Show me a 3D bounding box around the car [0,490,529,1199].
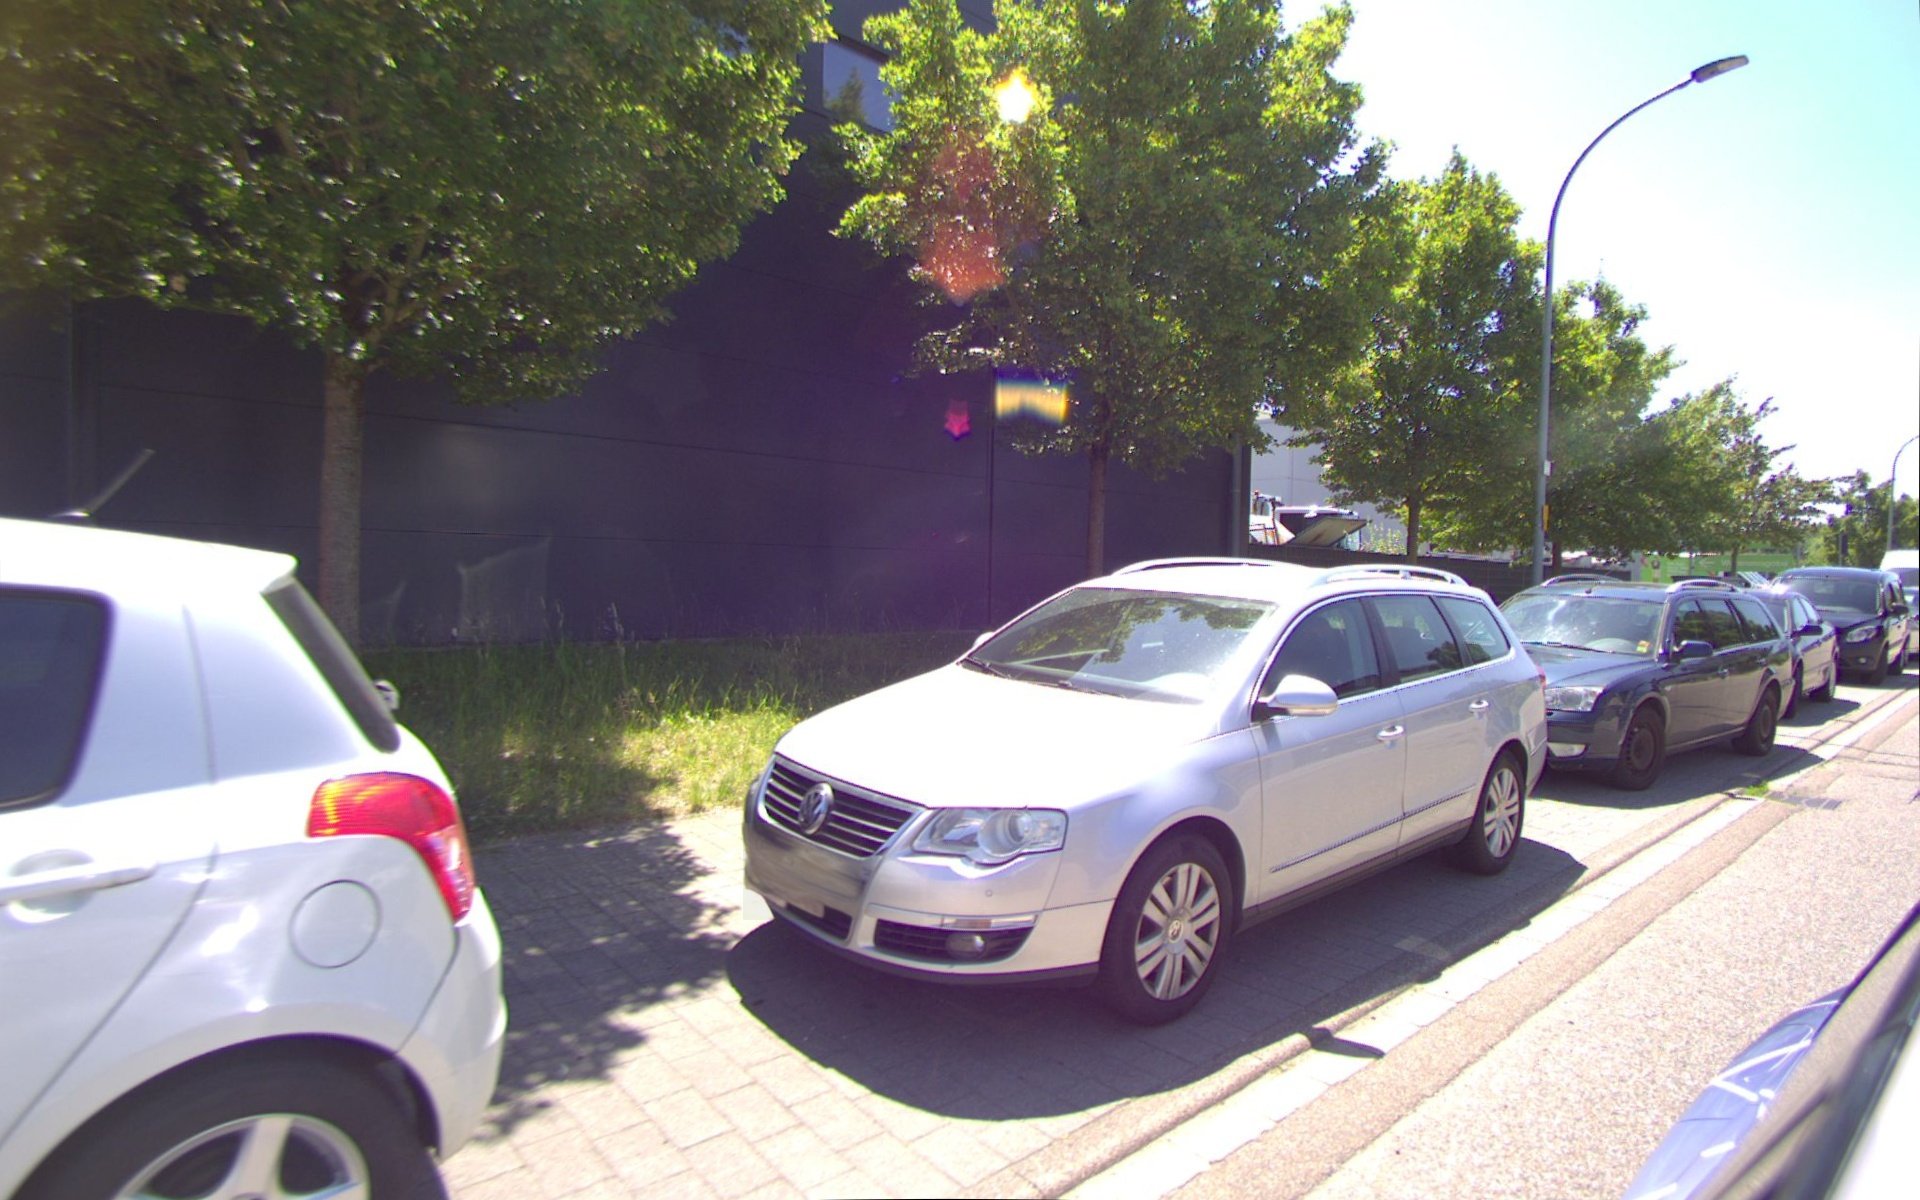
[{"bbox_3d":[-2.732,0.542,1.278,3.683,1.487,1.638,0,3,-44],"label":"car"}]

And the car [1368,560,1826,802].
[{"bbox_3d":[5.548,0.469,8.572,4.618,1.523,1.714,-1,3,-37],"label":"car"}]

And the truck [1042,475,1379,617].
[{"bbox_3d":[7.584,-1.768,32.004,9.963,3.868,2.995,4,3,39],"label":"truck"}]

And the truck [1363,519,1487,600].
[{"bbox_3d":[23.743,-2.107,51.810,2.755,3.922,5.073,-1,3,-41],"label":"truck"}]

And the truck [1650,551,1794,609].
[{"bbox_3d":[41.388,-1.152,55.069,2.268,2.907,5.909,-1,3,-44],"label":"truck"}]

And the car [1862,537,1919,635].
[{"bbox_3d":[27.116,-0.384,28.012,6.042,2.527,2.273,0,3,-40],"label":"car"}]

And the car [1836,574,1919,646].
[{"bbox_3d":[22.405,0.214,23.917,4.398,1.512,1.833,0,3,-40],"label":"car"}]

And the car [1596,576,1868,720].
[{"bbox_3d":[9.889,0.451,12.813,4.631,1.448,1.854,-1,3,-42],"label":"car"}]

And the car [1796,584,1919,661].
[{"bbox_3d":[18.390,0.375,20.327,4.042,1.303,1.715,-2,4,-40],"label":"car"}]

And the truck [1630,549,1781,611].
[{"bbox_3d":[38.254,-1.107,52.054,2.373,2.948,5.832,0,3,-42],"label":"truck"}]

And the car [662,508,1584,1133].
[{"bbox_3d":[1.100,0.485,4.665,4.427,1.581,1.752,-1,3,-41],"label":"car"}]

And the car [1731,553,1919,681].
[{"bbox_3d":[14.706,0.189,17.004,4.280,1.847,1.997,-1,3,-42],"label":"car"}]
